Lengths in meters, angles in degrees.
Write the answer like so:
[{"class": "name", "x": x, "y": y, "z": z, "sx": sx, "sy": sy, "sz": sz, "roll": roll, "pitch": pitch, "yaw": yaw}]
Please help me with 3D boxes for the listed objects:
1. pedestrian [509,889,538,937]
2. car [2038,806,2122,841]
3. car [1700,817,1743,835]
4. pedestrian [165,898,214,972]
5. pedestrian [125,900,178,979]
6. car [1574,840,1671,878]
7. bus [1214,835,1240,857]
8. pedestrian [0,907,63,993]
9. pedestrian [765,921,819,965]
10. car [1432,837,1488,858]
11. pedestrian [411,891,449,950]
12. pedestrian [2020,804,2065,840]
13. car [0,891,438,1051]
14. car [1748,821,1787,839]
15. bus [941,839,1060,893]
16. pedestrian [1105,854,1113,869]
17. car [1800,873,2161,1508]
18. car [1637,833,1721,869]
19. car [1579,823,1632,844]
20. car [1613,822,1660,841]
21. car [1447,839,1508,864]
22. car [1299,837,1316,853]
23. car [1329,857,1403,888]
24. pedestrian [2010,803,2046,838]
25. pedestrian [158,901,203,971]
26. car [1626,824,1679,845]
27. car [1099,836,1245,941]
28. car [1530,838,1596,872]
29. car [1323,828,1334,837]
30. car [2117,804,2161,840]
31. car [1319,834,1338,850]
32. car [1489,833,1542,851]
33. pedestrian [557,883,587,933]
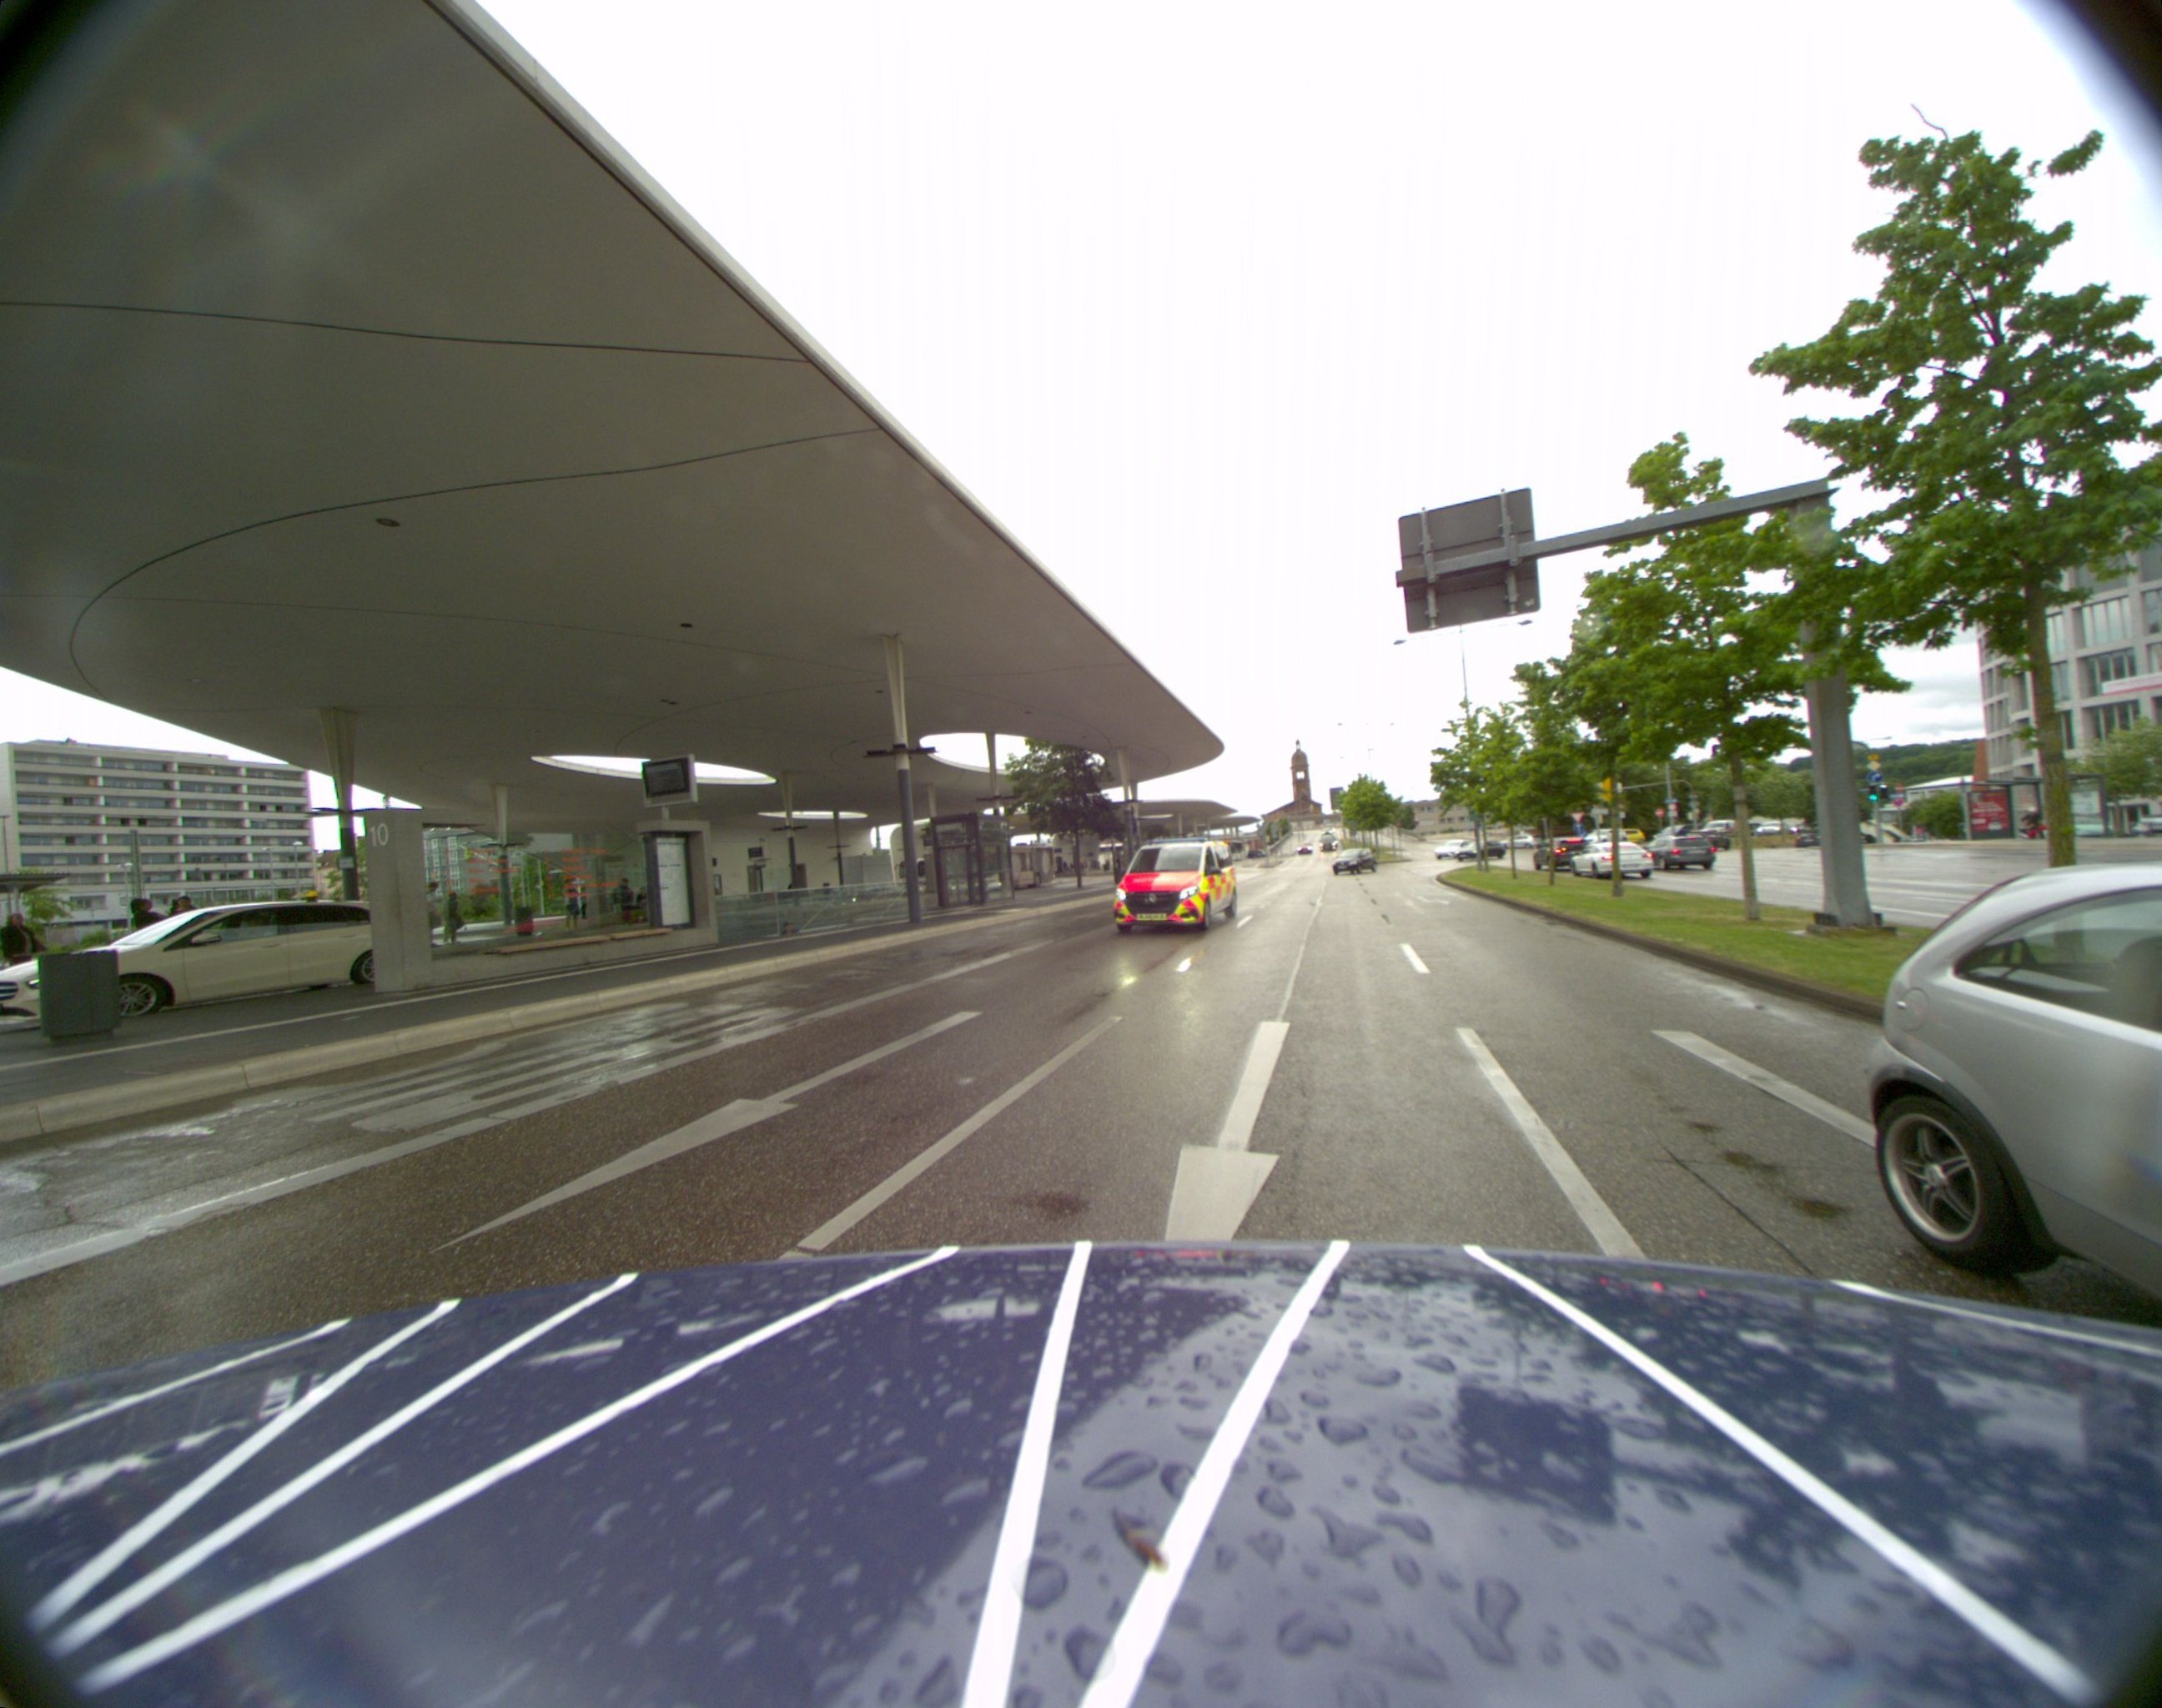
[{"class": "pedestrian", "x": -18.200, "y": 1.924, "z": 24.799, "sx": 0.478, "sy": 1.505, "sz": 0.526, "roll": -3, "pitch": 0, "yaw": 23}, {"class": "car", "x": 52.406, "y": -1.615, "z": 39.869, "sx": 4.162, "sy": 1.692, "sz": 1.873, "roll": -2, "pitch": 1, "yaw": -26}, {"class": "car", "x": 61.980, "y": -2.723, "z": 73.498, "sx": 4.163, "sy": 1.624, "sz": 1.872, "roll": -3, "pitch": 1, "yaw": -31}, {"class": "pedestrian", "x": -18.703, "y": 1.692, "z": 15.943, "sx": 0.534, "sy": 1.505, "sz": 0.480, "roll": -3, "pitch": 0, "yaw": 24}, {"class": "pedestrian", "x": -18.544, "y": 1.692, "z": 15.163, "sx": 0.534, "sy": 1.505, "sz": 0.480, "roll": -3, "pitch": 0, "yaw": 24}, {"class": "car", "x": 21.485, "y": 0.149, "z": 30.346, "sx": 2.007, "sy": 1.345, "sz": 4.170, "roll": -2, "pitch": 1, "yaw": 19}, {"class": "bus", "x": 22.223, "y": -1.217, "z": 115.831, "sx": 3.579, "sy": 3.080, "sz": 10.762, "roll": -3, "pitch": 0, "yaw": 10}, {"class": "pedestrian", "x": -20.746, "y": 1.866, "z": 14.956, "sx": 0.640, "sy": 1.586, "sz": 0.742, "roll": -2, "pitch": 1, "yaw": 33}, {"class": "pedestrian", "x": -7.660, "y": 2.351, "z": 20.174, "sx": 0.881, "sy": 1.048, "sz": 0.959, "roll": -2, "pitch": 1, "yaw": 22}, {"class": "car", "x": 32.009, "y": -0.534, "z": 64.207, "sx": 4.052, "sy": 1.550, "sz": 1.809, "roll": -2, "pitch": 1, "yaw": -18}, {"class": "pedestrian", "x": -17.165, "y": 1.754, "z": 20.040, "sx": 0.478, "sy": 1.505, "sz": 0.536, "roll": -3, "pitch": 0, "yaw": 23}, {"class": "pedestrian", "x": 41.305, "y": -1.377, "z": 32.654, "sx": 0.982, "sy": 1.481, "sz": 0.735, "roll": -2, "pitch": 1, "yaw": 29}, {"class": "car", "x": -13.259, "y": 1.573, "z": 11.800, "sx": 1.996, "sy": 1.671, "sz": 4.547, "roll": -2, "pitch": 1, "yaw": 19}, {"class": "car", "x": 71.782, "y": -2.533, "z": 79.468, "sx": 4.163, "sy": 1.624, "sz": 1.873, "roll": -3, "pitch": 0, "yaw": -31}, {"class": "bus", "x": -4.891, "y": 0.610, "z": 49.892, "sx": 2.872, "sy": 3.064, "sz": 11.936, "roll": -2, "pitch": 1, "yaw": 19}, {"class": "pedestrian", "x": 3.907, "y": 1.074, "z": 107.097, "sx": 1.024, "sy": 2.002, "sz": 0.880, "roll": -2, "pitch": 1, "yaw": -1}, {"class": "car", "x": 3.277, "y": 0.844, "z": 1.161, "sx": 1.697, "sy": 1.457, "sz": 3.724, "roll": -2, "pitch": 1, "yaw": 18}, {"class": "car", "x": 26.358, "y": -0.156, "z": 33.671, "sx": 1.696, "sy": 1.457, "sz": 4.458, "roll": -2, "pitch": 1, "yaw": 22}, {"class": "car", "x": 45.950, "y": -1.780, "z": 66.566, "sx": 4.306, "sy": 1.624, "sz": 1.873, "roll": -2, "pitch": 1, "yaw": -24}, {"class": "car", "x": 53.285, "y": -2.170, "z": 72.844, "sx": 4.162, "sy": 1.624, "sz": 1.873, "roll": -3, "pitch": 0, "yaw": -26}, {"class": "car", "x": 30.069, "y": -0.170, "z": 57.610, "sx": 4.162, "sy": 1.692, "sz": 1.873, "roll": -2, "pitch": 1, "yaw": -25}, {"class": "car", "x": 29.012, "y": -1.149, "z": 97.540, "sx": 1.996, "sy": 2.002, "sz": 4.004, "roll": -2, "pitch": 1, "yaw": 16}, {"class": "car", "x": 17.562, "y": 1.122, "z": 46.804, "sx": 4.162, "sy": 1.692, "sz": 1.873, "roll": -2, "pitch": 1, "yaw": -26}, {"class": "pedestrian", "x": 41.787, "y": -1.485, "z": 33.533, "sx": 0.732, "sy": 1.481, "sz": 0.735, "roll": -2, "pitch": 1, "yaw": 27}, {"class": "pedestrian", "x": -20.289, "y": 1.839, "z": 17.130, "sx": 0.480, "sy": 1.505, "sz": 0.534, "roll": -3, "pitch": 1, "yaw": -36}, {"class": "car", "x": 48.837, "y": -1.707, "z": 64.950, "sx": 4.162, "sy": 1.624, "sz": 1.873, "roll": -2, "pitch": 1, "yaw": -25}, {"class": "car", "x": 2.259, "y": 0.641, "z": 17.281, "sx": 1.995, "sy": 2.002, "sz": 5.069, "roll": -2, "pitch": 1, "yaw": 22}, {"class": "car", "x": 23.991, "y": 0.020, "z": 38.000, "sx": 2.007, "sy": 1.545, "sz": 4.170, "roll": -2, "pitch": 1, "yaw": 21}, {"class": "car", "x": 47.010, "y": -4.114, "z": 144.270, "sx": 1.547, "sy": 1.551, "sz": 3.653, "roll": -2, "pitch": 1, "yaw": 14}, {"class": "car", "x": 53.423, "y": -1.636, "z": 37.574, "sx": 4.162, "sy": 1.692, "sz": 1.873, "roll": -2, "pitch": 1, "yaw": -26}, {"class": "car", "x": 32.257, "y": -1.572, "z": 99.267, "sx": 1.996, "sy": 2.002, "sz": 4.004, "roll": -2, "pitch": 1, "yaw": 14}, {"class": "car", "x": 43.954, "y": -1.181, "z": 76.893, "sx": 1.880, "sy": 1.624, "sz": 4.147, "roll": -3, "pitch": 0, "yaw": -36}, {"class": "pedestrian", "x": -15.924, "y": 1.677, "z": 23.789, "sx": 0.478, "sy": 1.505, "sz": 0.536, "roll": -3, "pitch": 0, "yaw": 23}]
